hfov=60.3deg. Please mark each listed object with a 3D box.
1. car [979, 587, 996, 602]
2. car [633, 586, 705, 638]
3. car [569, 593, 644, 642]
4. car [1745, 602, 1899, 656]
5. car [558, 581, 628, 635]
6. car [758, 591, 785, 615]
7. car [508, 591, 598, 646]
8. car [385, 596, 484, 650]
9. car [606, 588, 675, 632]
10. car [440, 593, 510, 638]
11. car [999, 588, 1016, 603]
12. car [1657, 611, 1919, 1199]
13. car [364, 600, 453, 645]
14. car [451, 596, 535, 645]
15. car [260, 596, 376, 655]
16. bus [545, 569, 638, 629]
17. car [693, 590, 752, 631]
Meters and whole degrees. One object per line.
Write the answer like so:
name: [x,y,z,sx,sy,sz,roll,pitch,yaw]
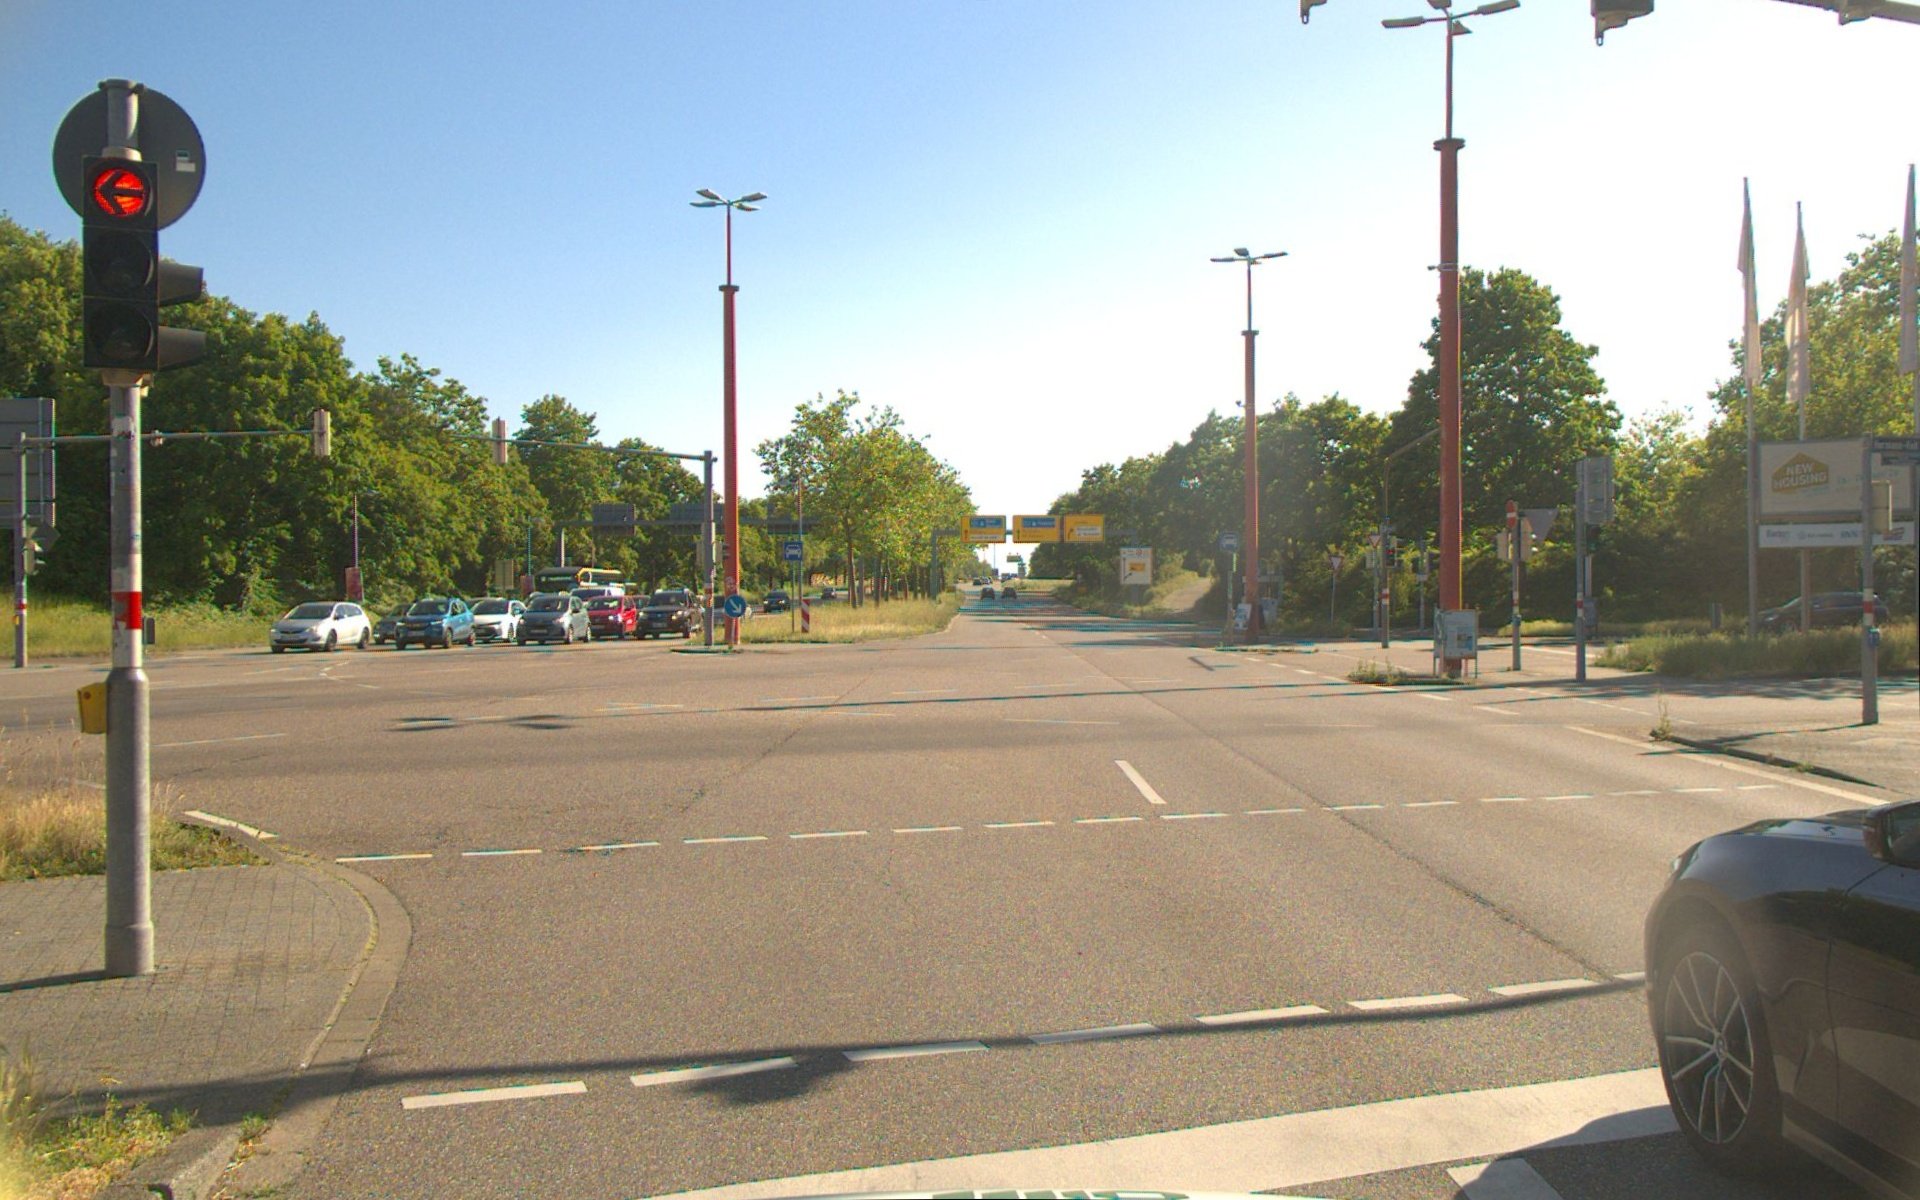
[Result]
car: [3.283,-0.603,199.803,1.953,1.764,3.999,1,0,-1]
car: [-9.841,0.391,56.208,1.757,1.654,4.142,-2,0,-2]
car: [-12.449,0.589,58.428,1.838,1.579,3.998,-3,0,-2]
car: [28.536,0.943,54.859,4.193,1.664,1.771,1,0,13]
car: [-15.623,0.337,70.584,1.922,2.193,5.080,-1,0,-1]
car: [-15.419,0.248,135.443,1.800,1.869,3.960,0,0,-1]
car: [-12.772,0.558,52.085,1.836,1.577,4.027,-2,1,-1]
car: [-16.107,0.689,50.873,1.764,1.542,3.858,-2,0,0]
car: [-12.408,0.373,64.428,1.862,1.658,4.000,0,0,1]
car: [-19.454,0.647,66.497,1.742,1.681,3.972,-3,-1,-2]
car: [5.924,-0.579,207.407,1.953,1.764,3.999,1,0,-1]
car: [2.899,0.770,2.741,1.727,1.466,4.295,1,0,1]
car: [-19.891,0.782,59.791,1.846,1.539,4.000,-1,0,0]
car: [-16.035,0.670,57.025,1.863,1.582,3.998,-1,0,-2]
car: [-19.545,0.744,50.539,1.838,1.681,4.219,-1,0,0]
bus: [-21.753,-0.037,98.466,2.591,3.318,12.535,1,0,0]
car: [-9.552,0.400,66.823,1.847,1.570,3.999,-2,0,-1]
